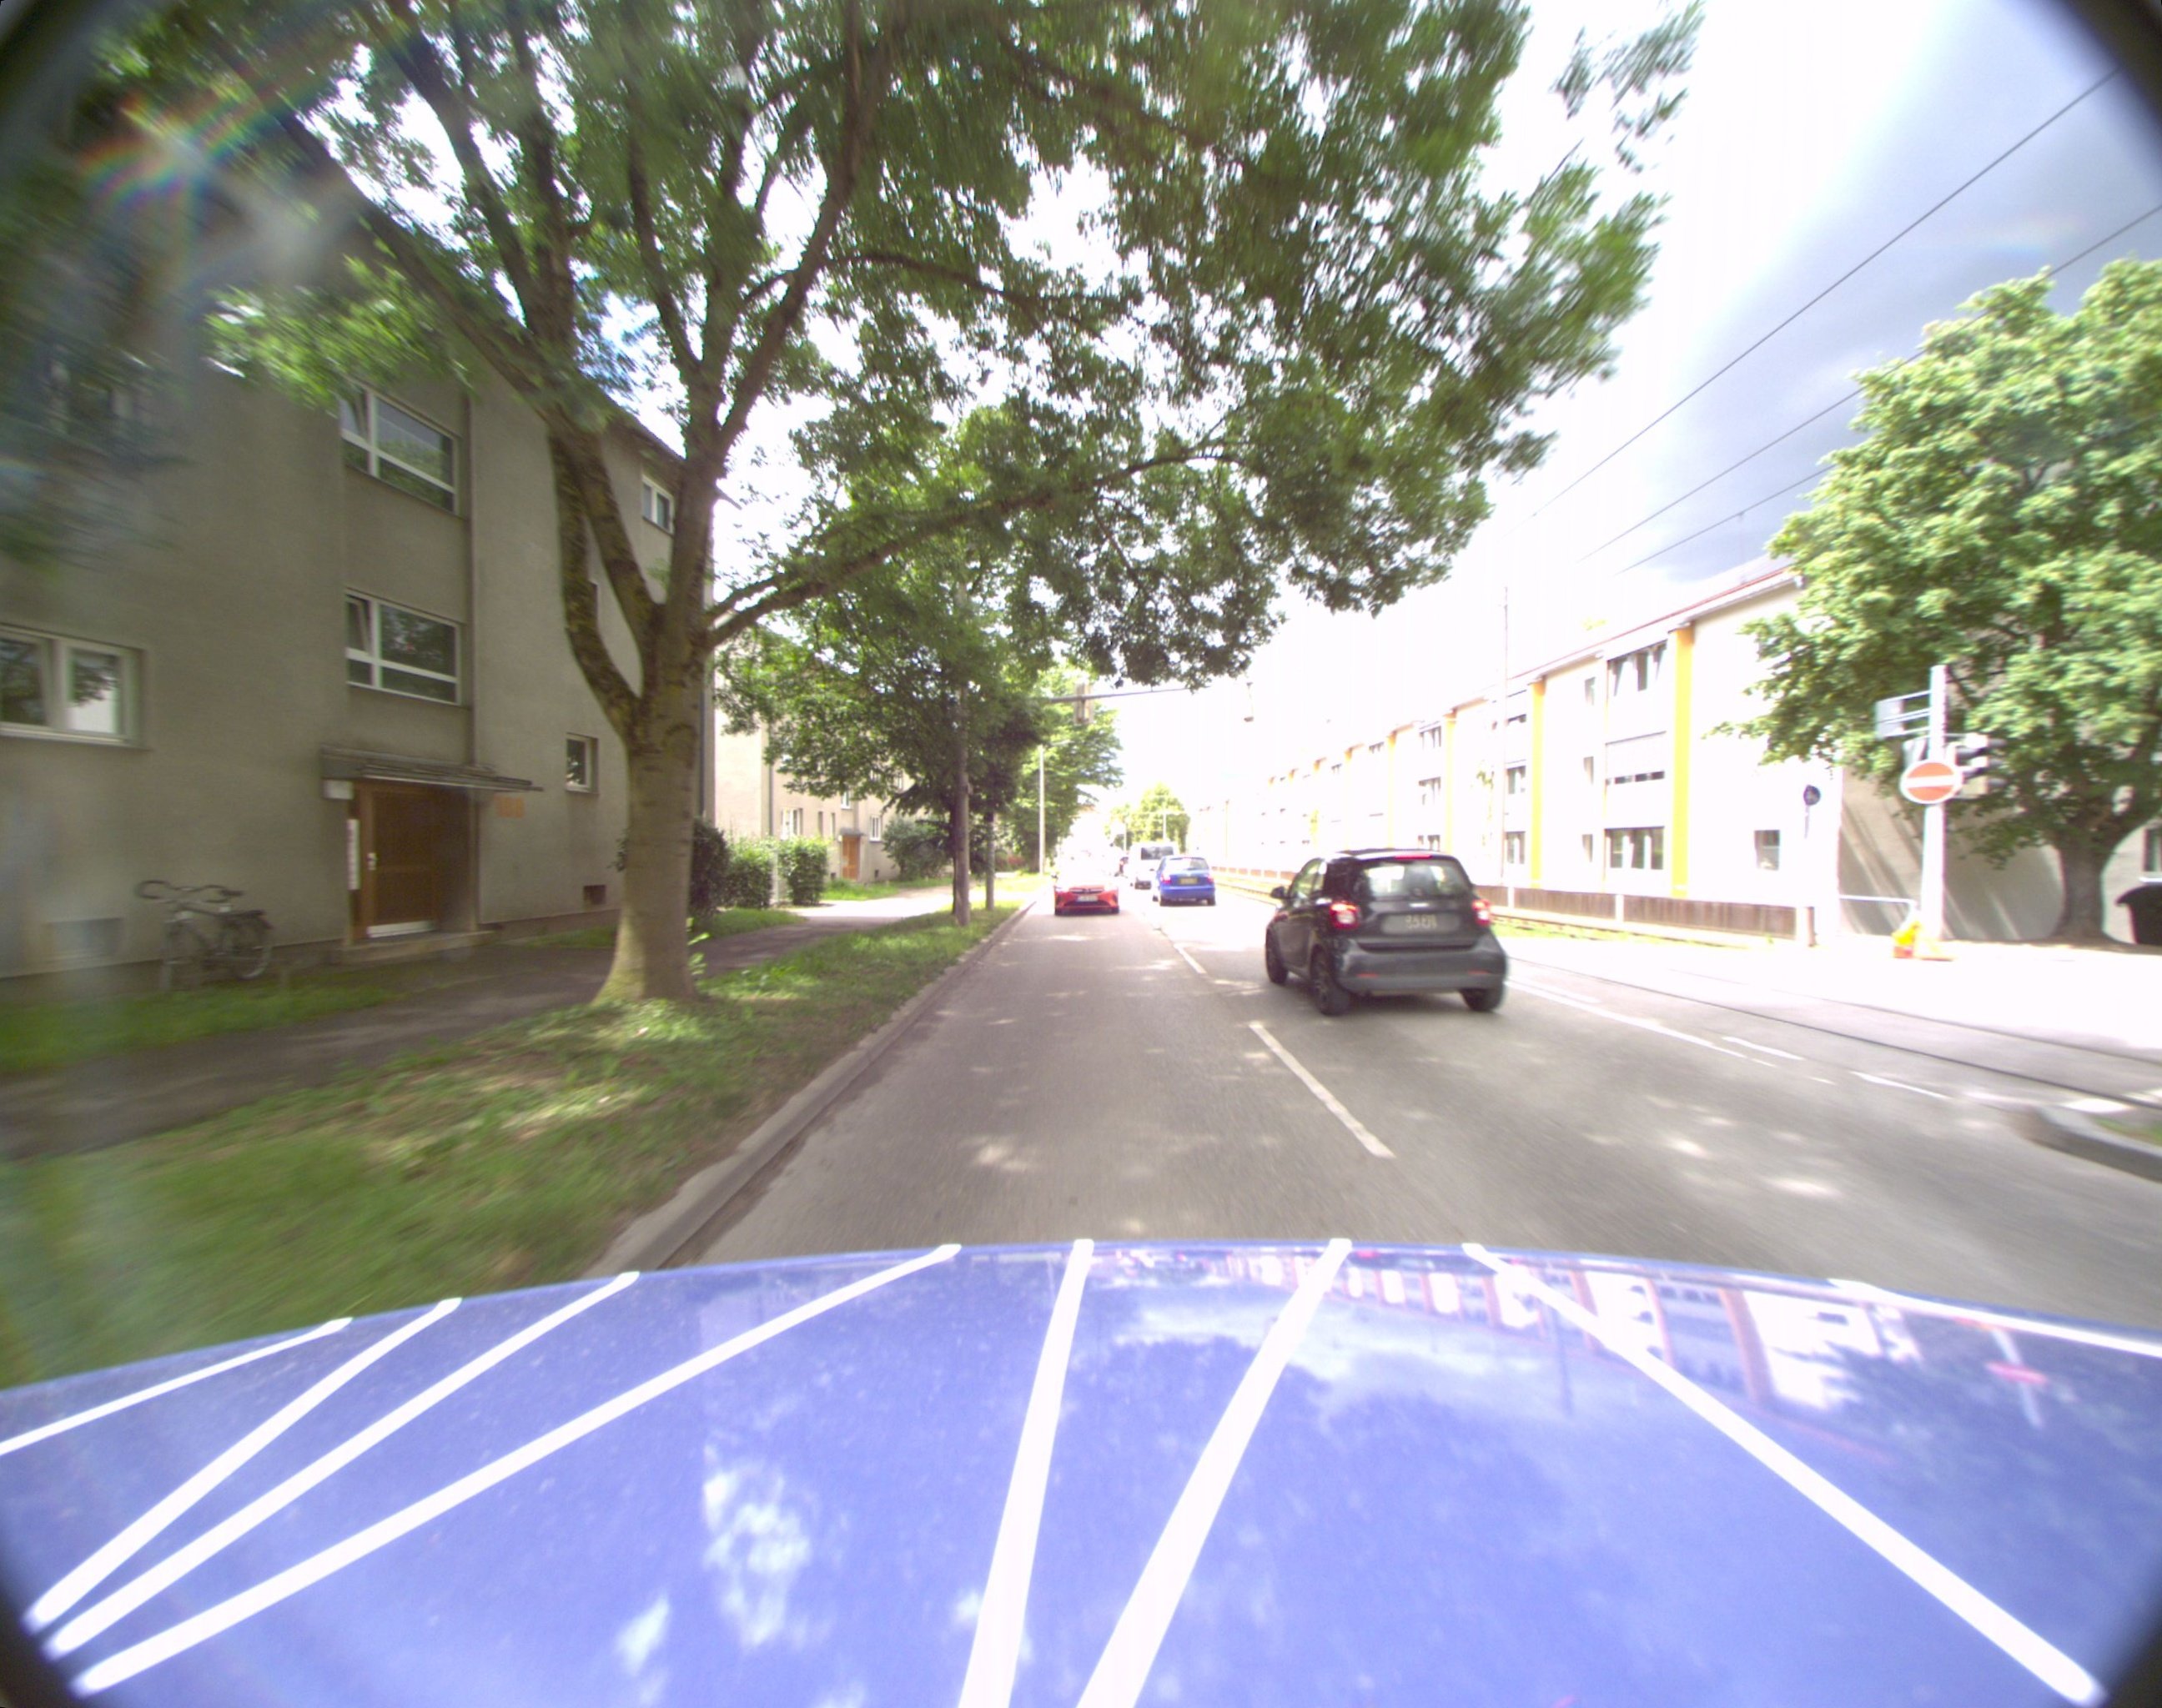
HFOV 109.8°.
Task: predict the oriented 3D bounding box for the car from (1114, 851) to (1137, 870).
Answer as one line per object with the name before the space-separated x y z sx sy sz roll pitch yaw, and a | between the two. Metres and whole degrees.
car | 3.759 0.556 64.478 1.666 1.513 3.786 -2 0 0

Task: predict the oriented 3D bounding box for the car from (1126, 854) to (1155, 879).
car | 3.681 0.771 47.581 1.613 1.405 3.647 -2 1 2

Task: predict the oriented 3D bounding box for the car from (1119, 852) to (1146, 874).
car | 3.772 0.634 56.172 1.666 1.513 3.678 -2 0 0

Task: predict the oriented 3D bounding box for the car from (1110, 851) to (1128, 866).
car | 3.886 0.443 79.049 1.666 1.513 3.861 -2 0 0

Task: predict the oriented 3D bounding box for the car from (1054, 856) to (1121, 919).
car | 0.172 0.851 20.992 1.666 1.513 3.785 -1 1 0

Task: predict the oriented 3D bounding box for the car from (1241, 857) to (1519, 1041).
car | 2.926 0.821 8.183 1.641 1.524 3.274 -2 0 -1

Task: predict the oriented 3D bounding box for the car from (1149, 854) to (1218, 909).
car | 3.064 0.777 23.324 1.585 1.477 3.806 -2 0 0

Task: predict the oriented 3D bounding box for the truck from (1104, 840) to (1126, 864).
truck | 4.071 -0.228 91.247 2.096 2.724 5.095 -2 1 -2

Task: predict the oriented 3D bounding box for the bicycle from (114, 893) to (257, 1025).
bicycle | -8.786 0.968 7.523 0.437 1.074 1.749 -3 2 -35

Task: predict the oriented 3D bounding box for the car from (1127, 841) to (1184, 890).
car | 3.259 0.472 34.215 1.999 1.984 4.785 -1 0 -1
